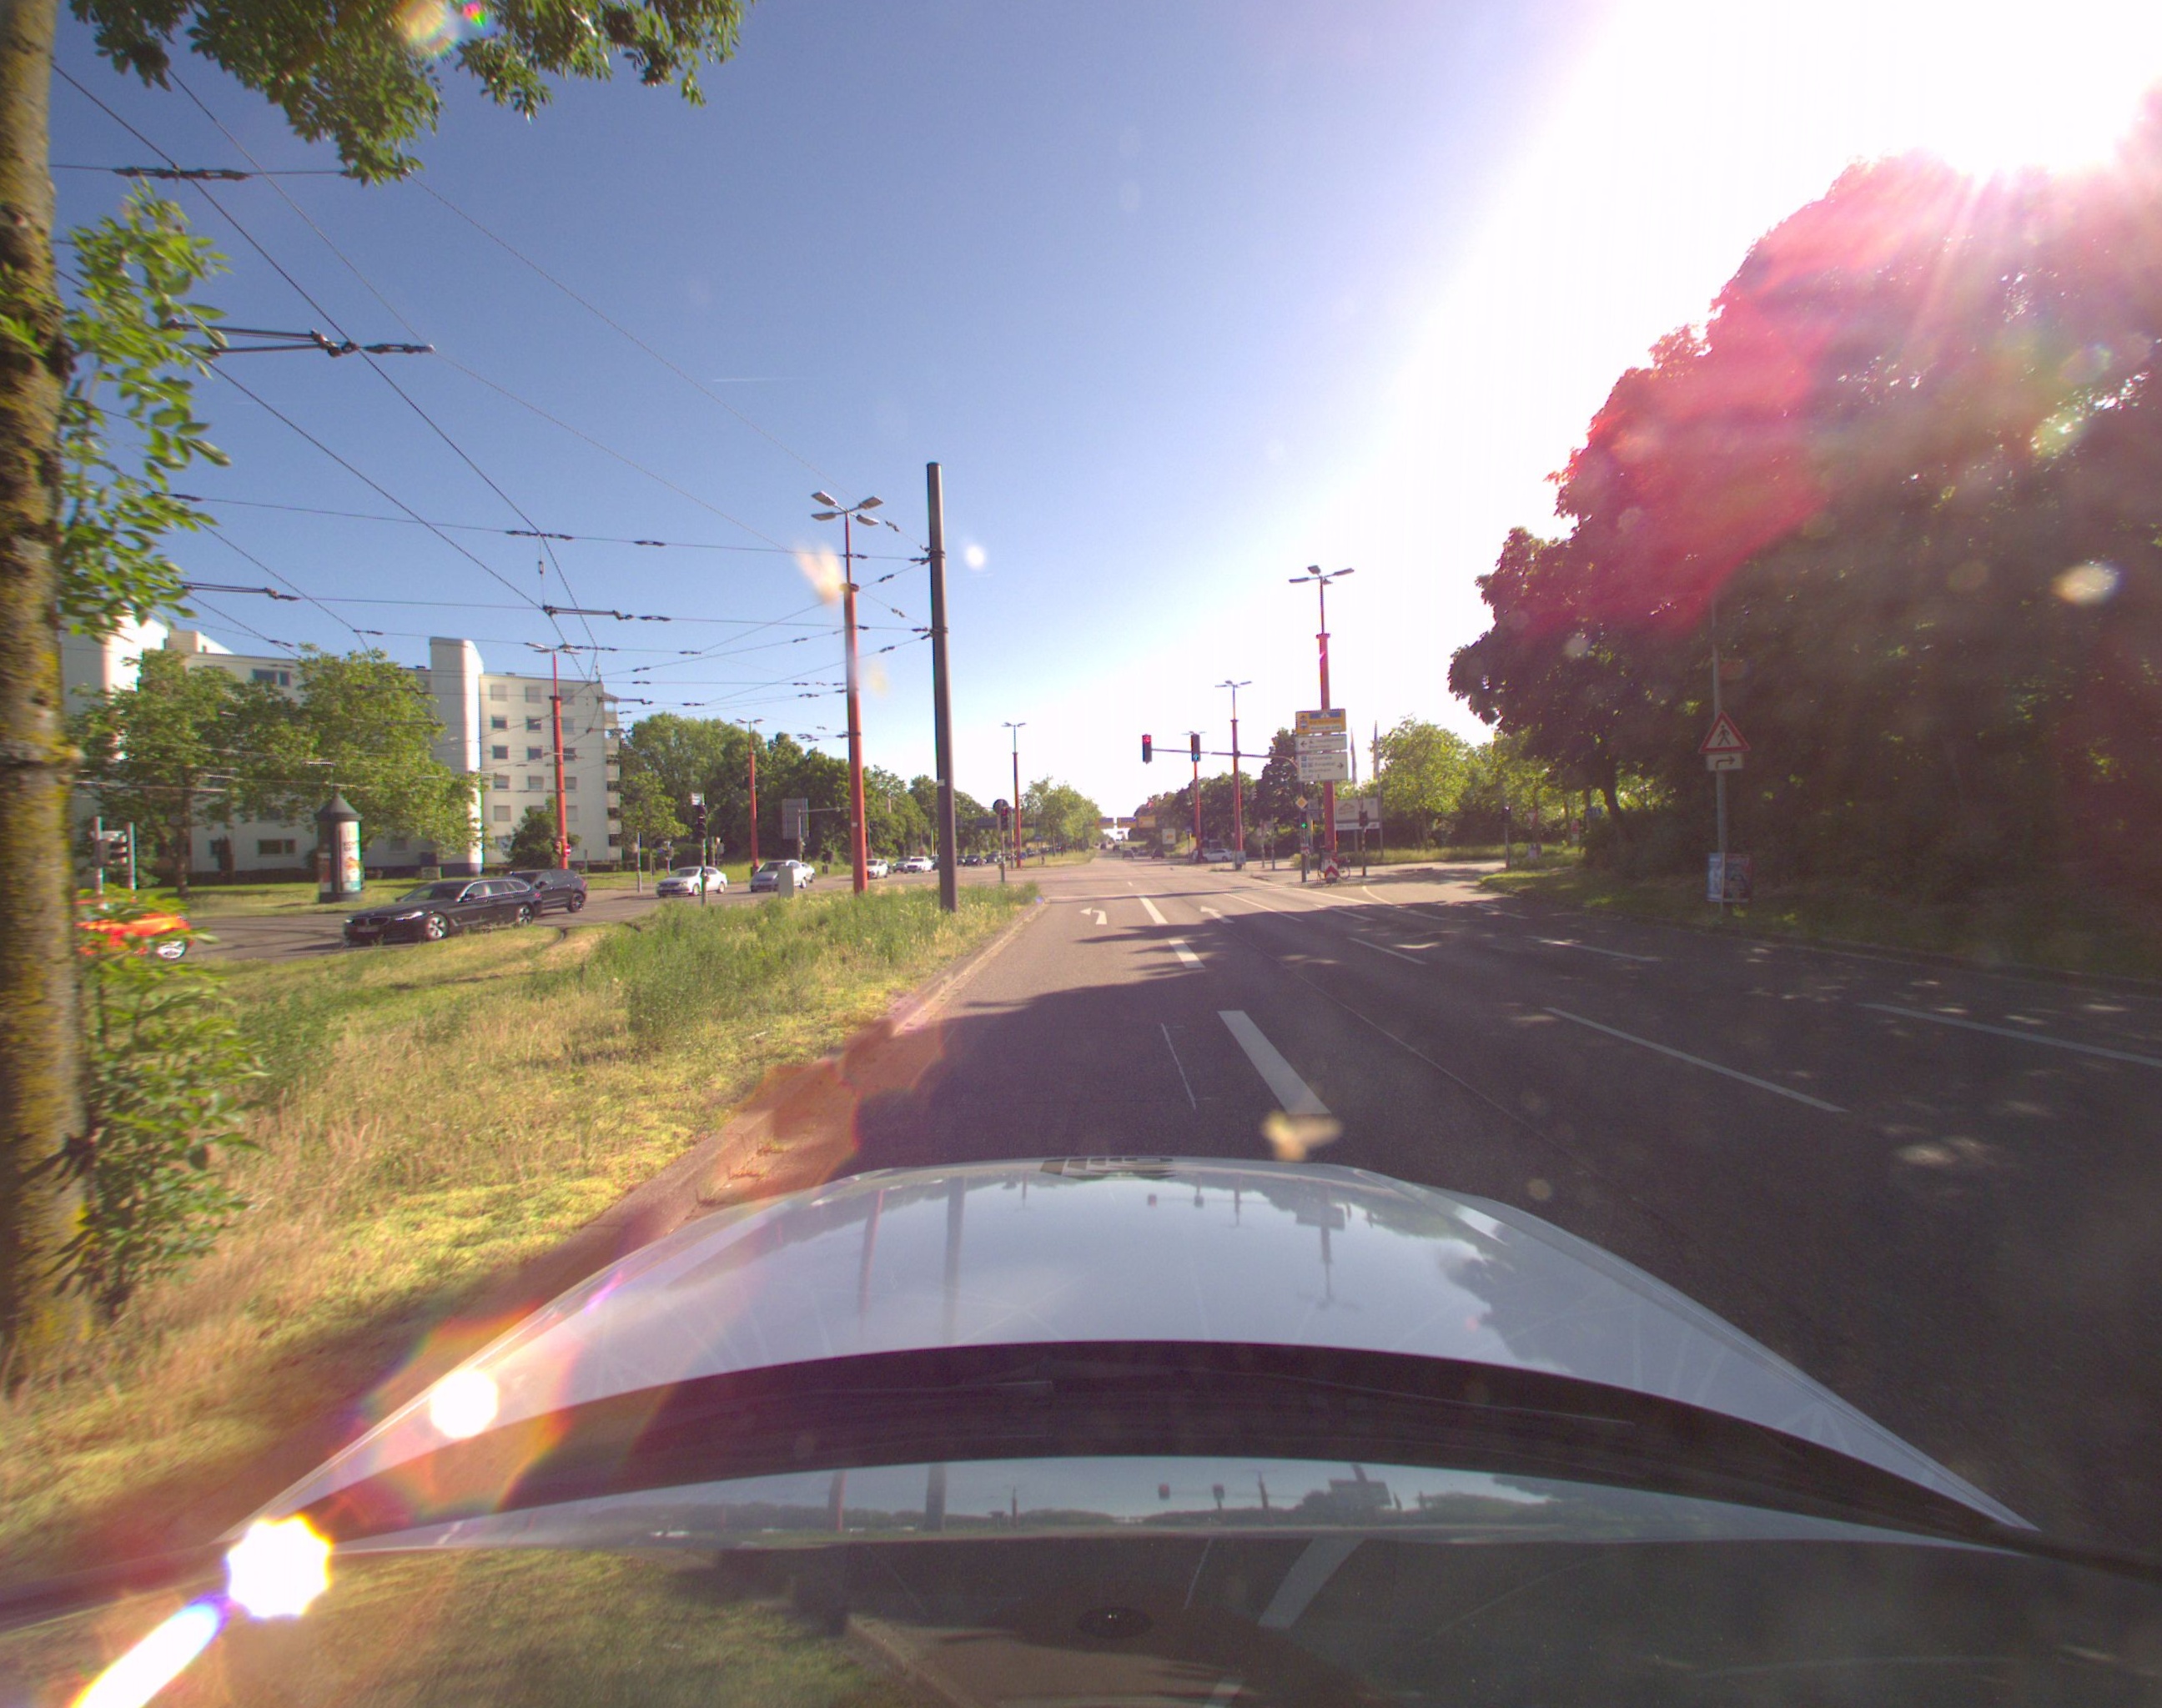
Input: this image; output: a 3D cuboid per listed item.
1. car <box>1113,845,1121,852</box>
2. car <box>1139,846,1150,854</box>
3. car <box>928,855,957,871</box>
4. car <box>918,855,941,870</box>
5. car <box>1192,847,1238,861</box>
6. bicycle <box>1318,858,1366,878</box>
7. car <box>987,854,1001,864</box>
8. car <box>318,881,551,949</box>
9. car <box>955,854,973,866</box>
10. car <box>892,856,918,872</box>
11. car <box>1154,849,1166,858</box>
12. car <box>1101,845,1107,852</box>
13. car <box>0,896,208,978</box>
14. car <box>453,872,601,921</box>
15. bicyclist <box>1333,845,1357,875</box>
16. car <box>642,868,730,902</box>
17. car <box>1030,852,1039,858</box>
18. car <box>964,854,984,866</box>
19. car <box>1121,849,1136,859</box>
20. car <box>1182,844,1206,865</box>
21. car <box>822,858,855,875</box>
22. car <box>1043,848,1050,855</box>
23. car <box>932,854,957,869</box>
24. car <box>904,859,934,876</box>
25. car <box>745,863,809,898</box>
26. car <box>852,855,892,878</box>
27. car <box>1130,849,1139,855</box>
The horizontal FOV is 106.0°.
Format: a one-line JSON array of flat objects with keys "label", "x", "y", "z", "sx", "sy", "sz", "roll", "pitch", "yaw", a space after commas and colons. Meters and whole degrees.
[{"label": "car", "x": 10.111, "y": -1.520, "z": 230.832, "sx": 2.146, "sy": 2.013, "sz": 4.001, "roll": -2, "pitch": 0, "yaw": 1}, {"label": "car", "x": 12.337, "y": -0.738, "z": 158.343, "sx": 1.986, "sy": 1.540, "sz": 4.002, "roll": -1, "pitch": 0, "yaw": 2}, {"label": "car", "x": -14.394, "y": 0.912, "z": 85.088, "sx": 1.985, "sy": 1.594, "sz": 4.468, "roll": -2, "pitch": 0, "yaw": 3}, {"label": "car", "x": -18.521, "y": 1.004, "z": 99.765, "sx": 1.794, "sy": 1.707, "sz": 4.061, "roll": -2, "pitch": 0, "yaw": 2}, {"label": "car", "x": 14.046, "y": 0.034, "z": 85.293, "sx": 2.073, "sy": 1.371, "sz": 4.337, "roll": -2, "pitch": 0, "yaw": -45}, {"label": "bicycle", "x": 11.764, "y": 0.613, "z": 36.744, "sx": 2.169, "sy": 0.878, "sz": 0.556, "roll": -1, "pitch": 0, "yaw": -20}, {"label": "car", "x": -12.914, "y": 0.733, "z": 121.612, "sx": 1.543, "sy": 1.377, "sz": 4.263, "roll": -2, "pitch": 0, "yaw": 1}, {"label": "car", "x": -16.687, "y": 1.501, "z": 21.464, "sx": 1.985, "sy": 1.409, "sz": 4.994, "roll": -1, "pitch": 0, "yaw": 3}, {"label": "car", "x": -16.569, "y": 0.859, "z": 115.609, "sx": 1.870, "sy": 1.576, "sz": 3.999, "roll": -1, "pitch": 0, "yaw": 0}, {"label": "car", "x": -18.136, "y": 1.004, "z": 84.093, "sx": 1.870, "sy": 1.576, "sz": 3.999, "roll": -1, "pitch": 0, "yaw": 0}, {"label": "car", "x": 12.250, "y": -0.050, "z": 126.406, "sx": 1.731, "sy": 1.341, "sz": 3.083, "roll": -2, "pitch": 0, "yaw": 2}, {"label": "car", "x": 7.200, "y": -1.714, "z": 254.388, "sx": 1.987, "sy": 2.013, "sz": 3.999, "roll": -1, "pitch": 0, "yaw": 0}, {"label": "car", "x": -20.070, "y": 1.584, "z": 15.814, "sx": 1.651, "sy": 1.297, "sz": 4.178, "roll": -1, "pitch": 0, "yaw": 1}, {"label": "car", "x": -19.677, "y": 1.462, "z": 29.228, "sx": 1.985, "sy": 1.481, "sz": 4.634, "roll": -1, "pitch": 0, "yaw": 2}, {"label": "bicyclist", "x": 11.912, "y": 0.250, "z": 36.814, "sx": 0.743, "sy": 1.341, "sz": 0.702, "roll": -1, "pitch": 0, "yaw": -25}, {"label": "car", "x": -19.664, "y": 1.506, "z": 40.799, "sx": 1.986, "sy": 1.432, "sz": 4.694, "roll": -2, "pitch": 0, "yaw": 1}, {"label": "car", "x": -10.848, "y": 0.244, "z": 190.360, "sx": 1.998, "sy": 1.308, "sz": 3.998, "roll": -2, "pitch": 0, "yaw": -1}, {"label": "car", "x": -13.437, "y": 0.753, "z": 102.071, "sx": 1.870, "sy": 1.485, "sz": 4.604, "roll": -1, "pitch": 0, "yaw": 0}, {"label": "car", "x": 7.571, "y": 0.023, "z": 130.802, "sx": 1.989, "sy": 1.496, "sz": 3.996, "roll": -2, "pitch": 0, "yaw": -3}, {"label": "car", "x": 10.759, "y": 0.034, "z": 77.243, "sx": 1.981, "sy": 1.887, "sz": 4.013, "roll": -2, "pitch": 0, "yaw": 11}, {"label": "car", "x": -24.189, "y": 1.272, "z": 81.376, "sx": 1.905, "sy": 1.623, "sz": 4.002, "roll": -1, "pitch": 0, "yaw": 2}, {"label": "car", "x": -9.610, "y": -0.669, "z": 224.697, "sx": 1.619, "sy": 1.739, "sz": 4.002, "roll": -2, "pitch": 0, "yaw": 2}, {"label": "car", "x": -15.554, "y": 0.802, "z": 92.795, "sx": 1.830, "sy": 1.601, "sz": 4.441, "roll": -2, "pitch": 0, "yaw": 3}, {"label": "car", "x": -14.790, "y": 1.238, "z": 74.574, "sx": 1.697, "sy": 1.423, "sz": 4.644, "roll": -2, "pitch": 0, "yaw": 1}, {"label": "car", "x": -15.803, "y": 1.351, "z": 42.583, "sx": 1.756, "sy": 1.608, "sz": 3.760, "roll": -2, "pitch": 0, "yaw": 2}, {"label": "car", "x": -15.338, "y": 0.904, "z": 59.850, "sx": 1.582, "sy": 1.472, "sz": 4.186, "roll": -3, "pitch": 1, "yaw": 3}, {"label": "car", "x": 13.747, "y": -0.590, "z": 209.229, "sx": 1.986, "sy": 1.540, "sz": 4.002, "roll": -2, "pitch": 0, "yaw": 2}]
